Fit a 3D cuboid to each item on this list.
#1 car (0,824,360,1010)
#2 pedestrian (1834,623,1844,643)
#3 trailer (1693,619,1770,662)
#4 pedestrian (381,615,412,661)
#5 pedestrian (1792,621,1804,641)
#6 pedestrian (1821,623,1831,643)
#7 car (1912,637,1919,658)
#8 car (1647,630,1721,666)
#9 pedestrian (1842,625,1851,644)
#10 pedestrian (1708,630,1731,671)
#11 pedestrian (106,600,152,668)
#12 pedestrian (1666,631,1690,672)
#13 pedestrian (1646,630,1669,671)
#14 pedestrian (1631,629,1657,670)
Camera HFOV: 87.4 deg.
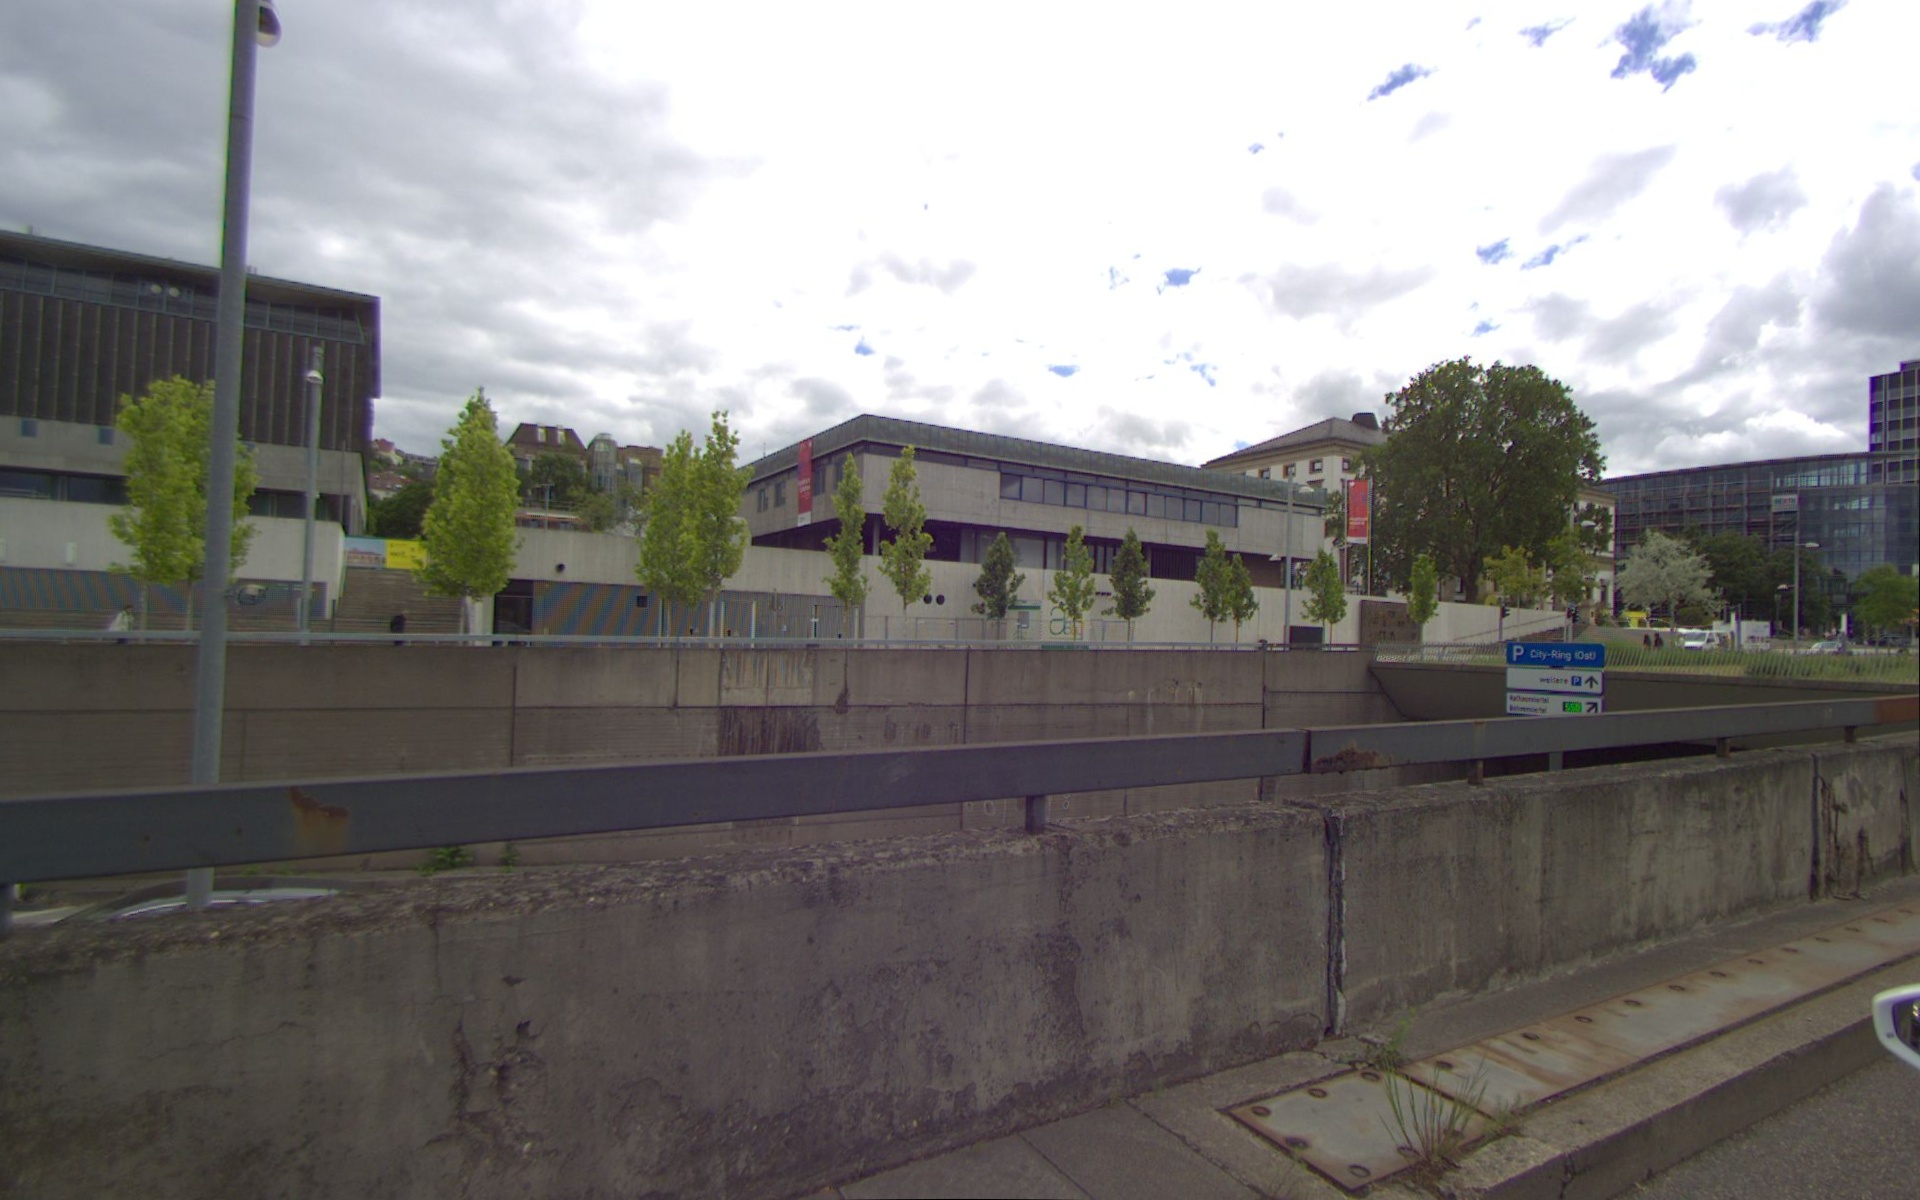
[{"bbox_3d":[-10.351,4.089,13.372,3.953,1.568,1.867,2,-2,-30],"label":"car"},{"bbox_3d":[90.026,3.390,102.875,0.731,2.040,0.788,-1,-1,45],"label":"pedestrian"},{"bbox_3d":[50.065,2.578,65.182,5.443,2.640,2.027,1,1,-30],"label":"trailer"},{"bbox_3d":[-20.643,1.367,36.817,0.779,1.664,0.739,0,-1,-11],"label":"pedestrian"},{"bbox_3d":[85.258,3.183,102.186,0.783,2.040,0.735,0,-1,-29],"label":"pedestrian"},{"bbox_3d":[87.180,3.341,101.119,0.730,2.040,0.916,-1,-1,41],"label":"pedestrian"},{"bbox_3d":[74.779,3.728,77.056,3.556,1.514,1.723,3,0,-32],"label":"car"},{"bbox_3d":[44.516,2.890,61.765,4.635,2.040,1.985,0,0,-30],"label":"car"},{"bbox_3d":[95.705,3.726,108.430,0.731,2.040,0.788,-1,-1,45],"label":"pedestrian"},{"bbox_3d":[39.345,2.615,52.034,0.623,2.041,0.724,-4,2,-37],"label":"pedestrian"},{"bbox_3d":[-25.188,1.027,30.453,0.777,2.040,0.741,0,-1,0],"label":"pedestrian"},{"bbox_3d":[36.266,2.600,50.757,0.623,2.040,0.853,0,-1,-38],"label":"pedestrian"},{"bbox_3d":[35.145,2.513,50.594,0.831,2.040,0.782,1,-1,-44],"label":"pedestrian"},{"bbox_3d":[34.357,2.470,50.457,0.826,2.040,0.788,0,-1,-26],"label":"pedestrian"}]
